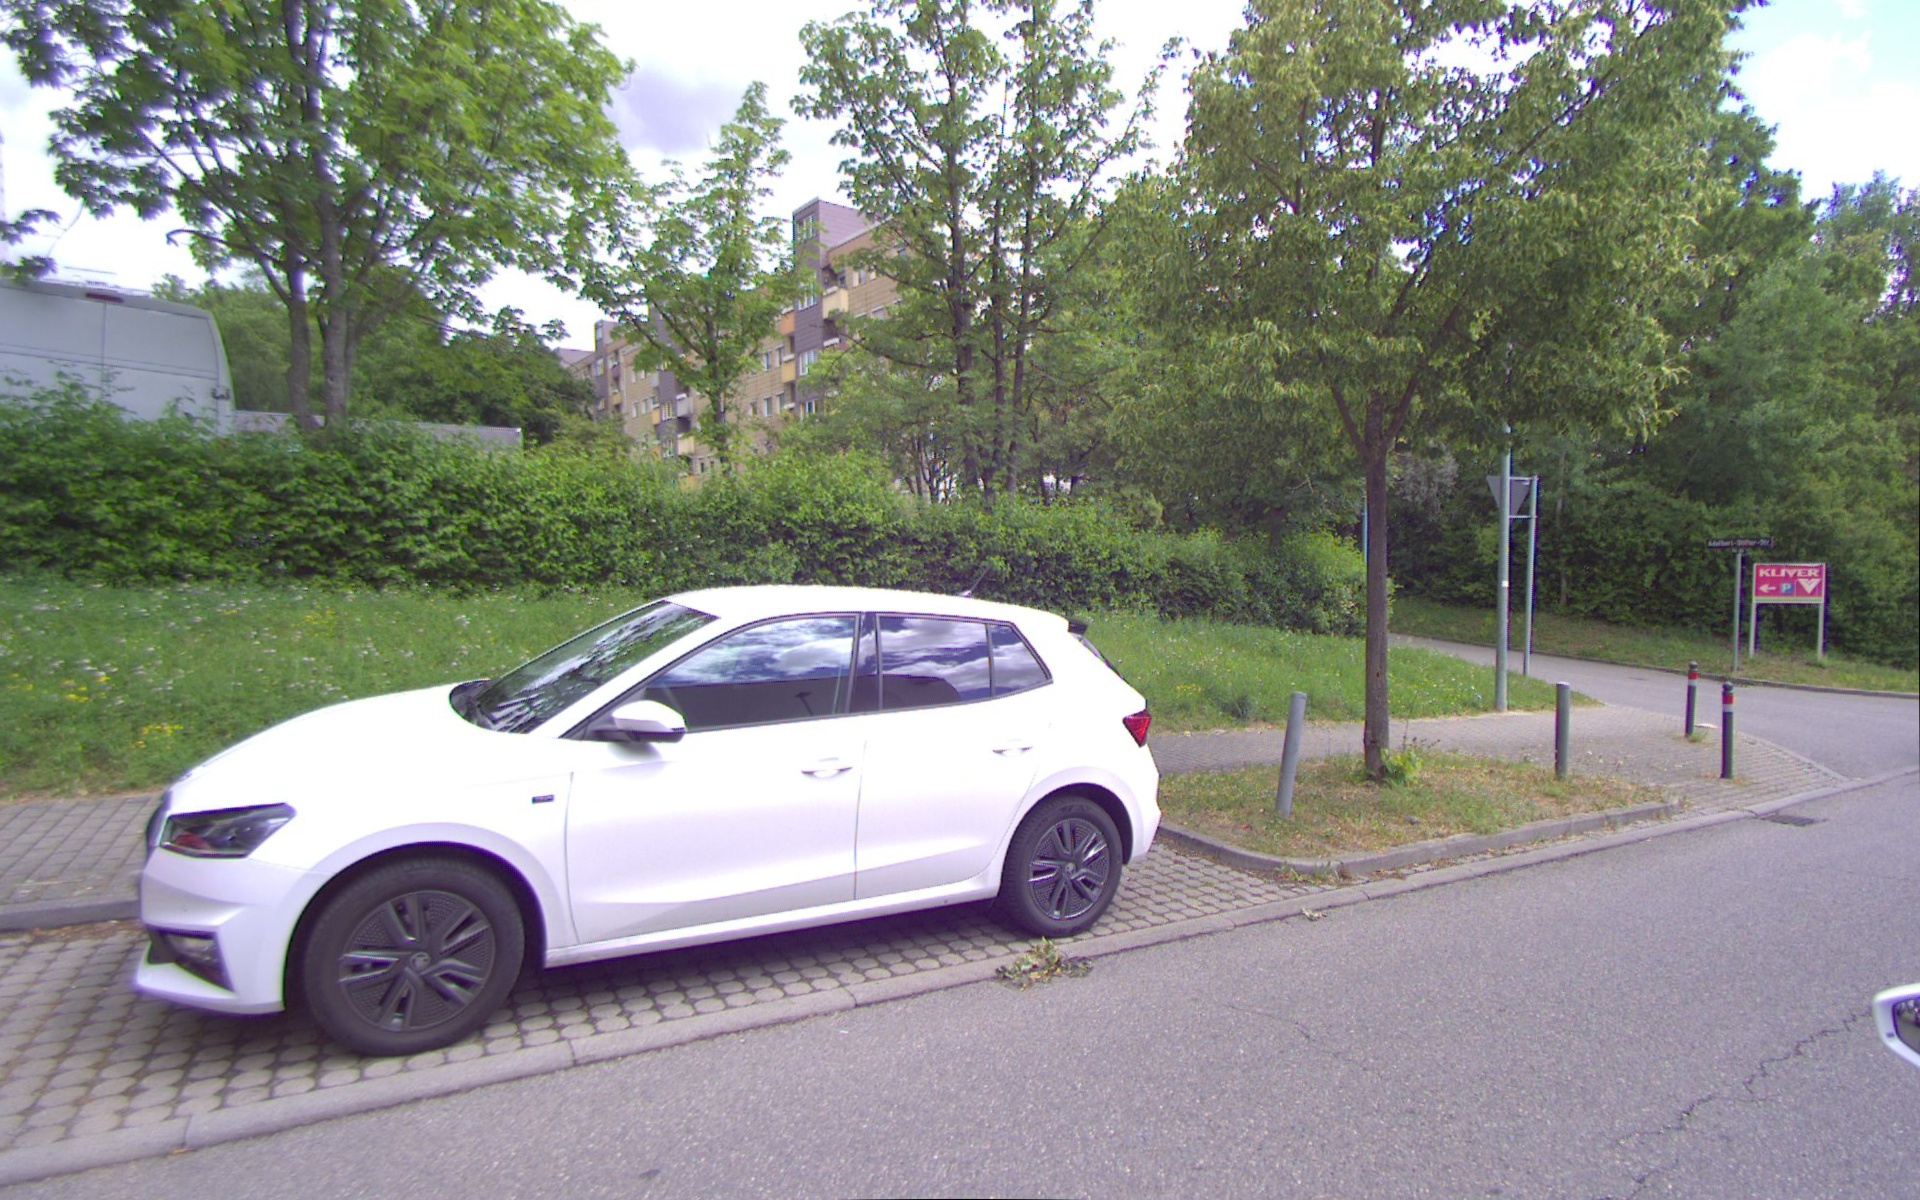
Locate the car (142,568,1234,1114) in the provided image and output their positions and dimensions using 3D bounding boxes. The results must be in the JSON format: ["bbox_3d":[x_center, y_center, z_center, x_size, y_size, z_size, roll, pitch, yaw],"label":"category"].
[{"bbox_3d":[-0.905,0.684,4.495,4.002,1.424,1.799,2,2,-31],"label":"car"}]
